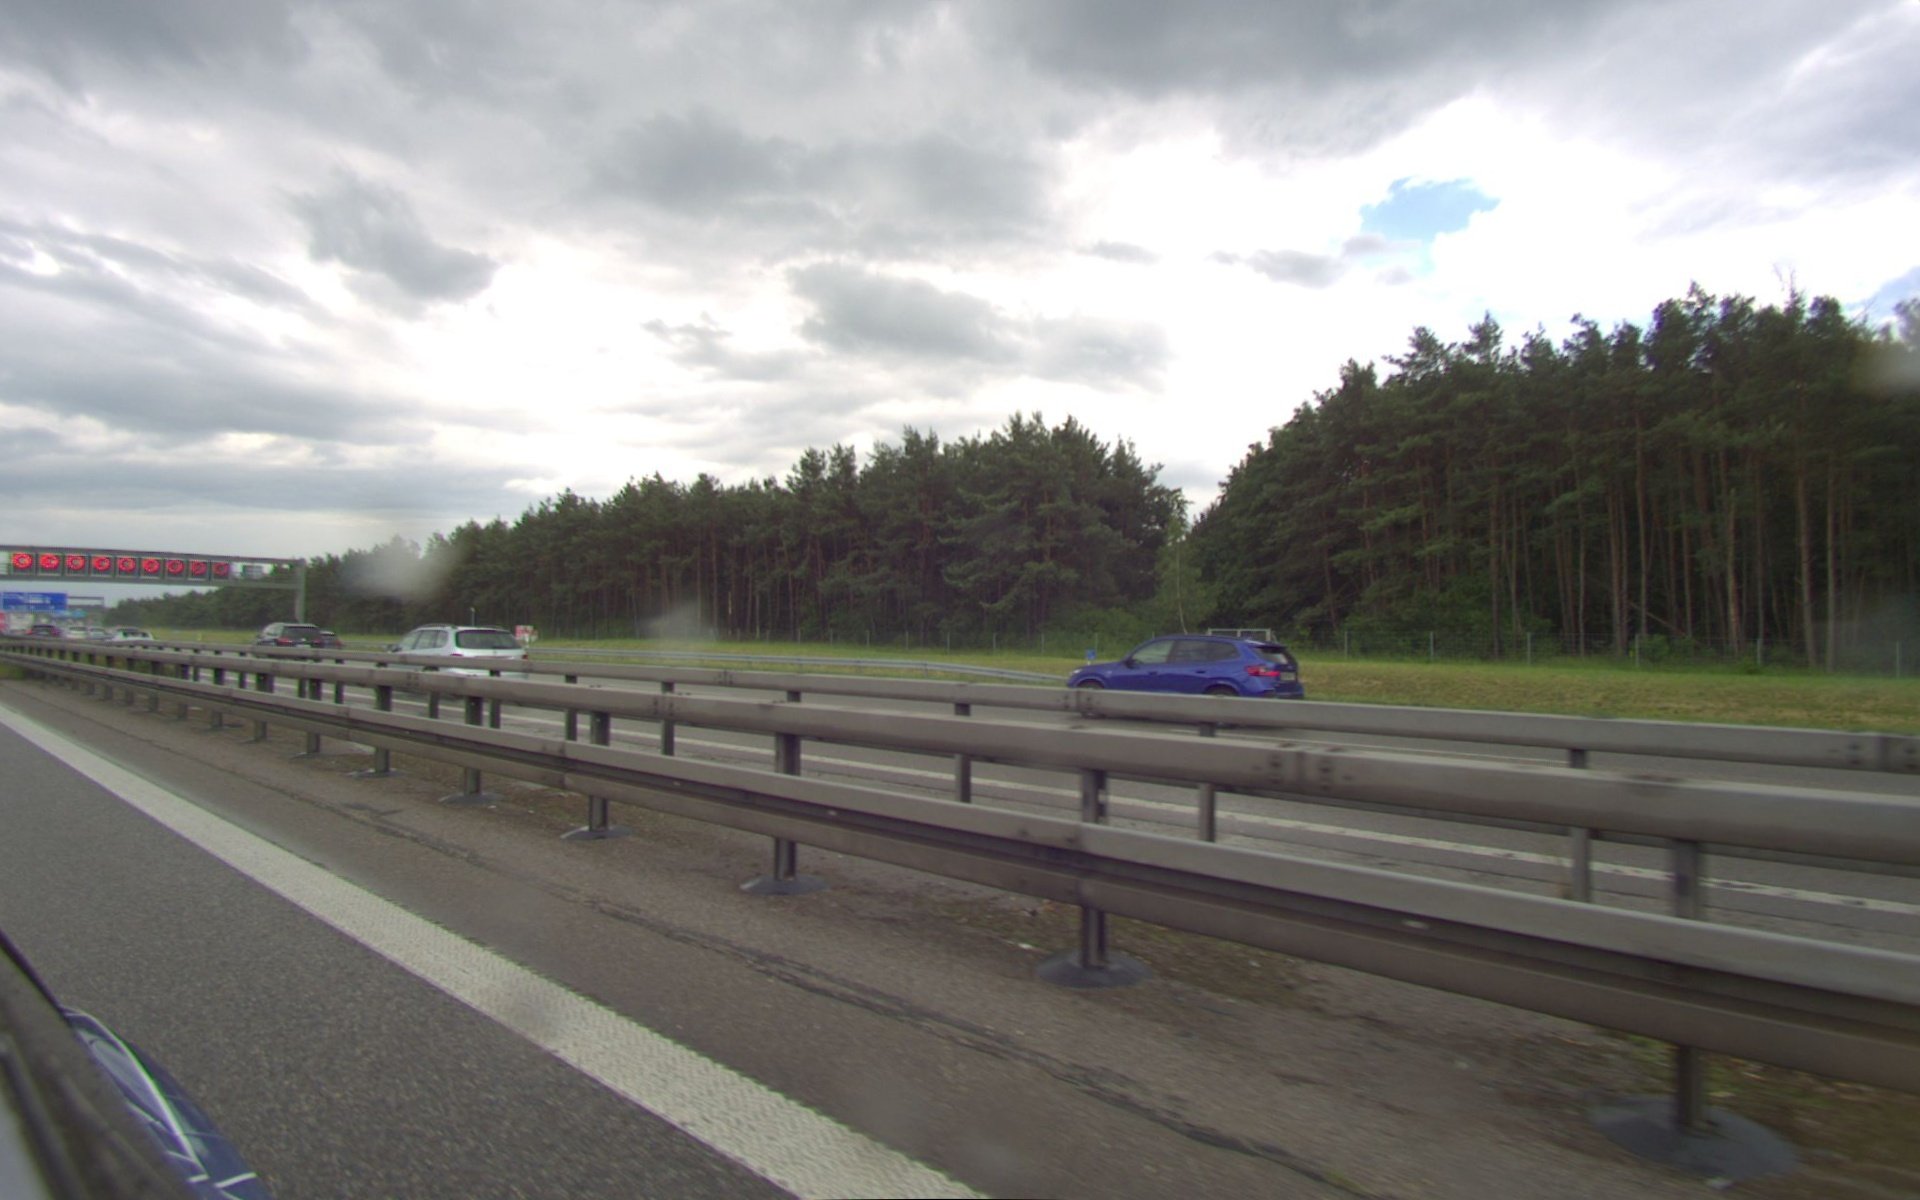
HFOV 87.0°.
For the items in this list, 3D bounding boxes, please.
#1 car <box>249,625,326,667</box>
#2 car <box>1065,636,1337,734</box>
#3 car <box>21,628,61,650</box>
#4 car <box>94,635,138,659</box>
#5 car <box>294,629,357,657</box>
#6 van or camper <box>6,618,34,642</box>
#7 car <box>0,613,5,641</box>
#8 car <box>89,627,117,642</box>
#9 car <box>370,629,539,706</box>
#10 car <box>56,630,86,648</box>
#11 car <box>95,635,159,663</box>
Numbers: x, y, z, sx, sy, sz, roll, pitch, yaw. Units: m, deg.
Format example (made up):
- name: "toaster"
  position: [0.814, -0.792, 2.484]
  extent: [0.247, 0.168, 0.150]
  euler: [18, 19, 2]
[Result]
- name: "car"
  position: [-29.317, 1.994, 44.103]
  extent: [4.135, 1.696, 1.706]
  euler: [-1, -4, 41]
- name: "car"
  position: [4.328, 1.483, 18.572]
  extent: [4.510, 1.559, 1.880]
  euler: [-1, -4, 41]
- name: "car"
  position: [-65.012, 2.755, 71.570]
  extent: [3.722, 1.554, 1.771]
  euler: [-1, -3, 43]
- name: "car"
  position: [-58.156, 3.208, 69.715]
  extent: [3.846, 1.591, 1.734]
  euler: [-1, -2, 41]
- name: "car"
  position: [-34.086, 2.315, 54.340]
  extent: [4.182, 1.406, 1.706]
  euler: [-1, -4, 41]
- name: "van or camper"
  position: [-123.545, 3.970, 133.013]
  extent: [7.545, 3.137, 2.275]
  euler: [-2, -4, 44]
- name: "car"
  position: [-93.978, 2.595, 97.642]
  extent: [6.671, 2.682, 2.110]
  euler: [-2, -2, 42]
- name: "car"
  position: [-92.539, 3.738, 109.237]
  extent: [4.154, 1.608, 1.705]
  euler: [-1, -2, 42]
- name: "car"
  position: [-10.249, 1.284, 20.402]
  extent: [3.998, 1.386, 1.675]
  euler: [-1, -2, 41]
- name: "car"
  position: [-80.076, 3.493, 91.145]
  extent: [3.954, 1.591, 1.733]
  euler: [-2, -2, 44]
- name: "car"
  position: [-39.383, 2.312, 47.799]
  extent: [4.060, 1.270, 1.676]
  euler: [-2, -3, 41]
